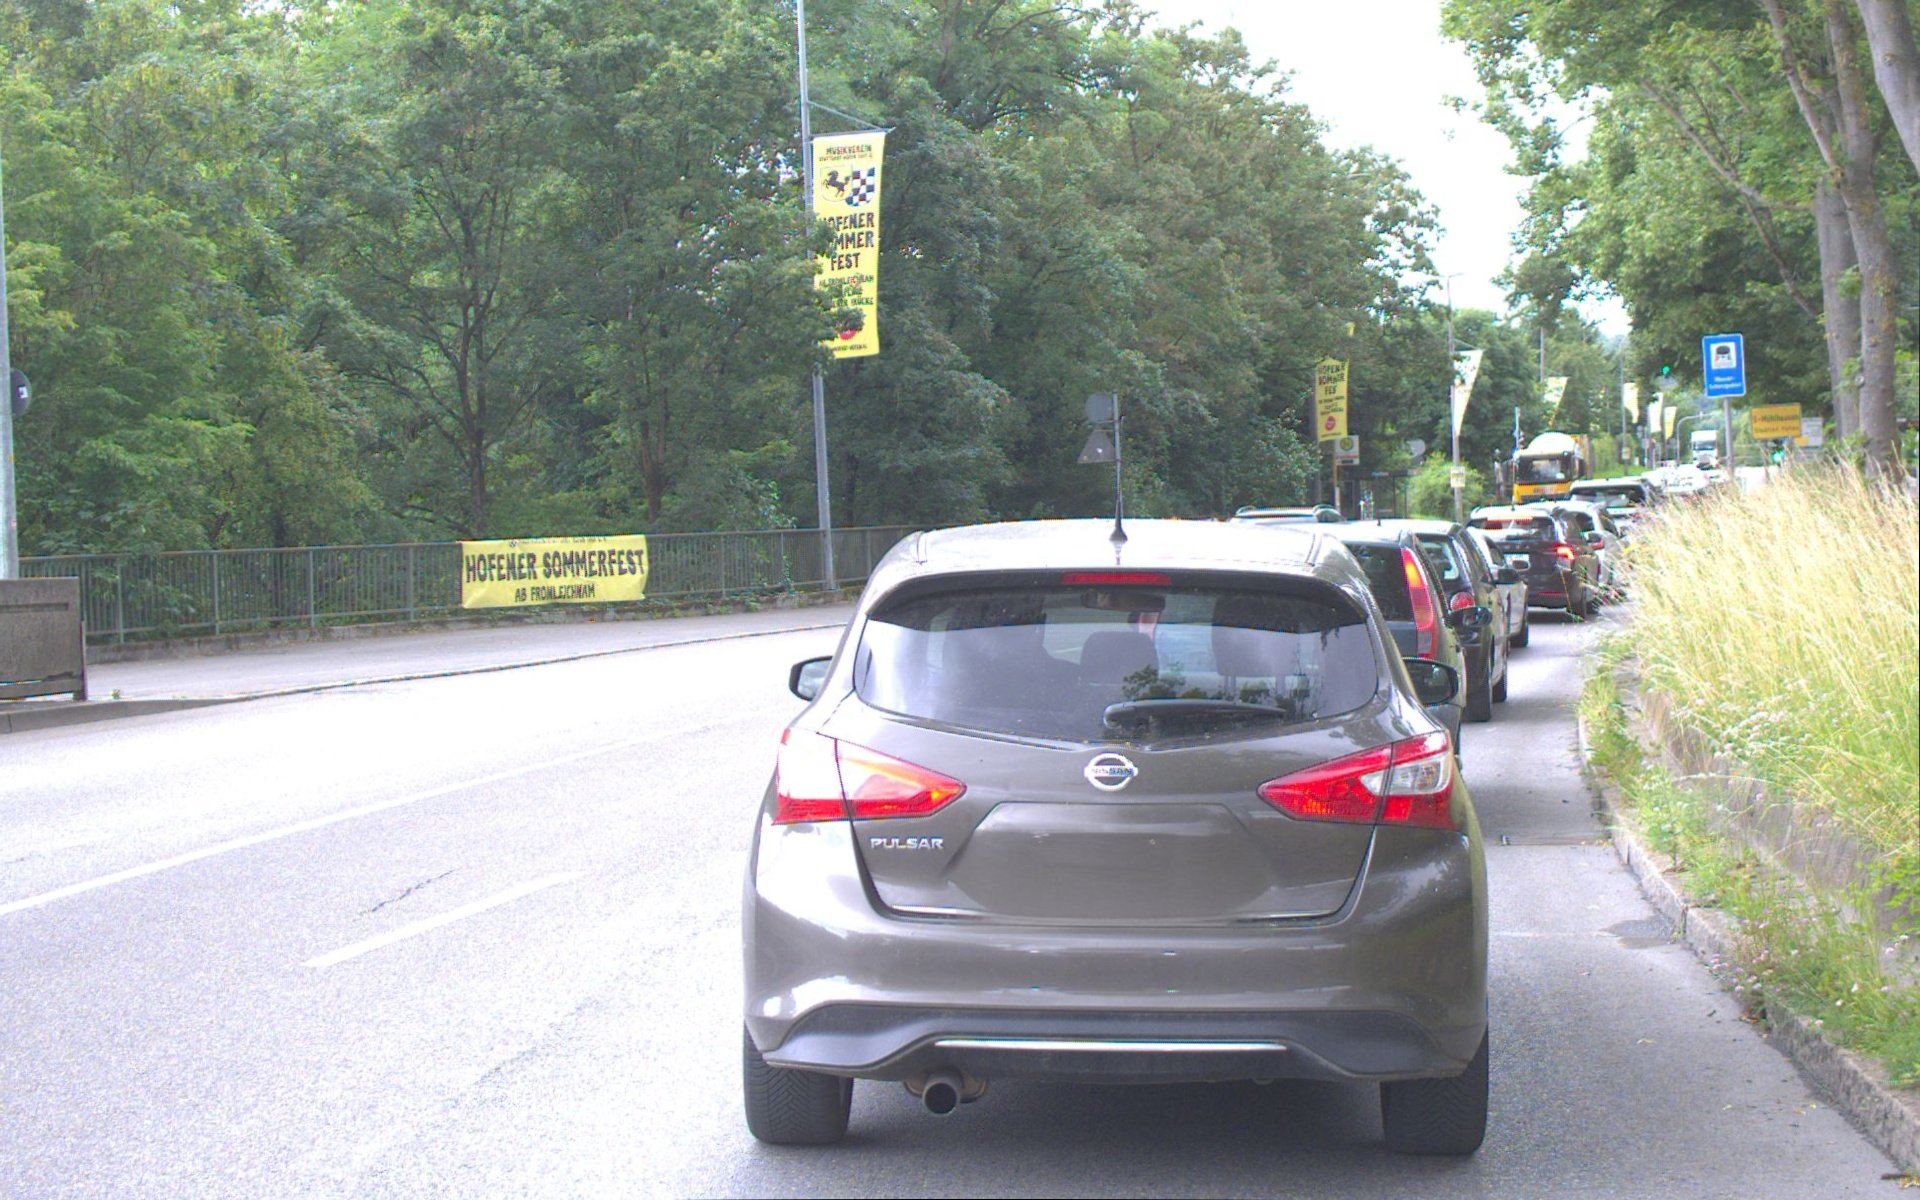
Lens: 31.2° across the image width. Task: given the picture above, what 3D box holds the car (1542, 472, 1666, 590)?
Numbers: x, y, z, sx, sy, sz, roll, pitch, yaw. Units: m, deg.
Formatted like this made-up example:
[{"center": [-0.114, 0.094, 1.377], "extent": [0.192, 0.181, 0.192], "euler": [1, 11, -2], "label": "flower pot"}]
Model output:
[{"center": [11.505, -1.237, 61.238], "extent": [1.892, 2.007, 3.998], "euler": [-1, 1, 14], "label": "car"}]

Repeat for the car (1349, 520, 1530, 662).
[{"center": [5.024, -0.116, 35.753], "extent": [1.501, 1.359, 3.585], "euler": [-2, 1, 13], "label": "car"}]

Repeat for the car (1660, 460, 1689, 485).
[{"center": [47.363, -8.427, 227.950], "extent": [1.753, 1.415, 3.997], "euler": [-2, -1, 13], "label": "car"}]

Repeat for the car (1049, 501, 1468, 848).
[{"center": [1.588, 0.330, 17.656], "extent": [1.893, 1.568, 3.999], "euler": [0, 0, 7], "label": "car"}]

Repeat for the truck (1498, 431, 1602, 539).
[{"center": [22.455, -4.337, 130.408], "extent": [2.657, 3.925, 10.103], "euler": [0, 1, 17], "label": "truck"}]

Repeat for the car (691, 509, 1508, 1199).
[{"center": [0.542, 0.537, 9.464], "extent": [1.775, 1.489, 3.999], "euler": [0, 0, 7], "label": "car"}]

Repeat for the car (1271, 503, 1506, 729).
[{"center": [3.291, 0.086, 25.926], "extent": [1.578, 1.533, 3.999], "euler": [-2, 1, 9], "label": "car"}]

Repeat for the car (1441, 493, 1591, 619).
[{"center": [7.159, -0.569, 44.058], "extent": [1.805, 1.535, 3.998], "euler": [1, 1, 10], "label": "car"}]

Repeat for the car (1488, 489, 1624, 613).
[{"center": [8.836, -0.686, 50.776], "extent": [1.719, 1.687, 3.997], "euler": [-2, -1, 13], "label": "car"}]

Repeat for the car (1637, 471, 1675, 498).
[{"center": [38.168, -6.341, 188.525], "extent": [1.722, 1.437, 3.998], "euler": [-2, 2, 15], "label": "car"}]

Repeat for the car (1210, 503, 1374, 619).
[{"center": [4.574, -0.522, 46.865], "extent": [1.852, 1.481, 4.419], "euler": [-1, 0, 10], "label": "car"}]

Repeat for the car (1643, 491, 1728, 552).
[{"center": [18.022, -1.947, 85.258], "extent": [1.892, 1.440, 3.805], "euler": [-1, 1, 14], "label": "car"}]

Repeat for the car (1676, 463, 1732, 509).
[{"center": [27.781, -4.255, 128.261], "extent": [1.892, 1.647, 3.998], "euler": [-1, 1, 14], "label": "car"}]

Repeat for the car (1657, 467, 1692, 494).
[{"center": [41.563, -6.940, 199.928], "extent": [1.819, 1.457, 3.998], "euler": [-1, 1, 15], "label": "car"}]
